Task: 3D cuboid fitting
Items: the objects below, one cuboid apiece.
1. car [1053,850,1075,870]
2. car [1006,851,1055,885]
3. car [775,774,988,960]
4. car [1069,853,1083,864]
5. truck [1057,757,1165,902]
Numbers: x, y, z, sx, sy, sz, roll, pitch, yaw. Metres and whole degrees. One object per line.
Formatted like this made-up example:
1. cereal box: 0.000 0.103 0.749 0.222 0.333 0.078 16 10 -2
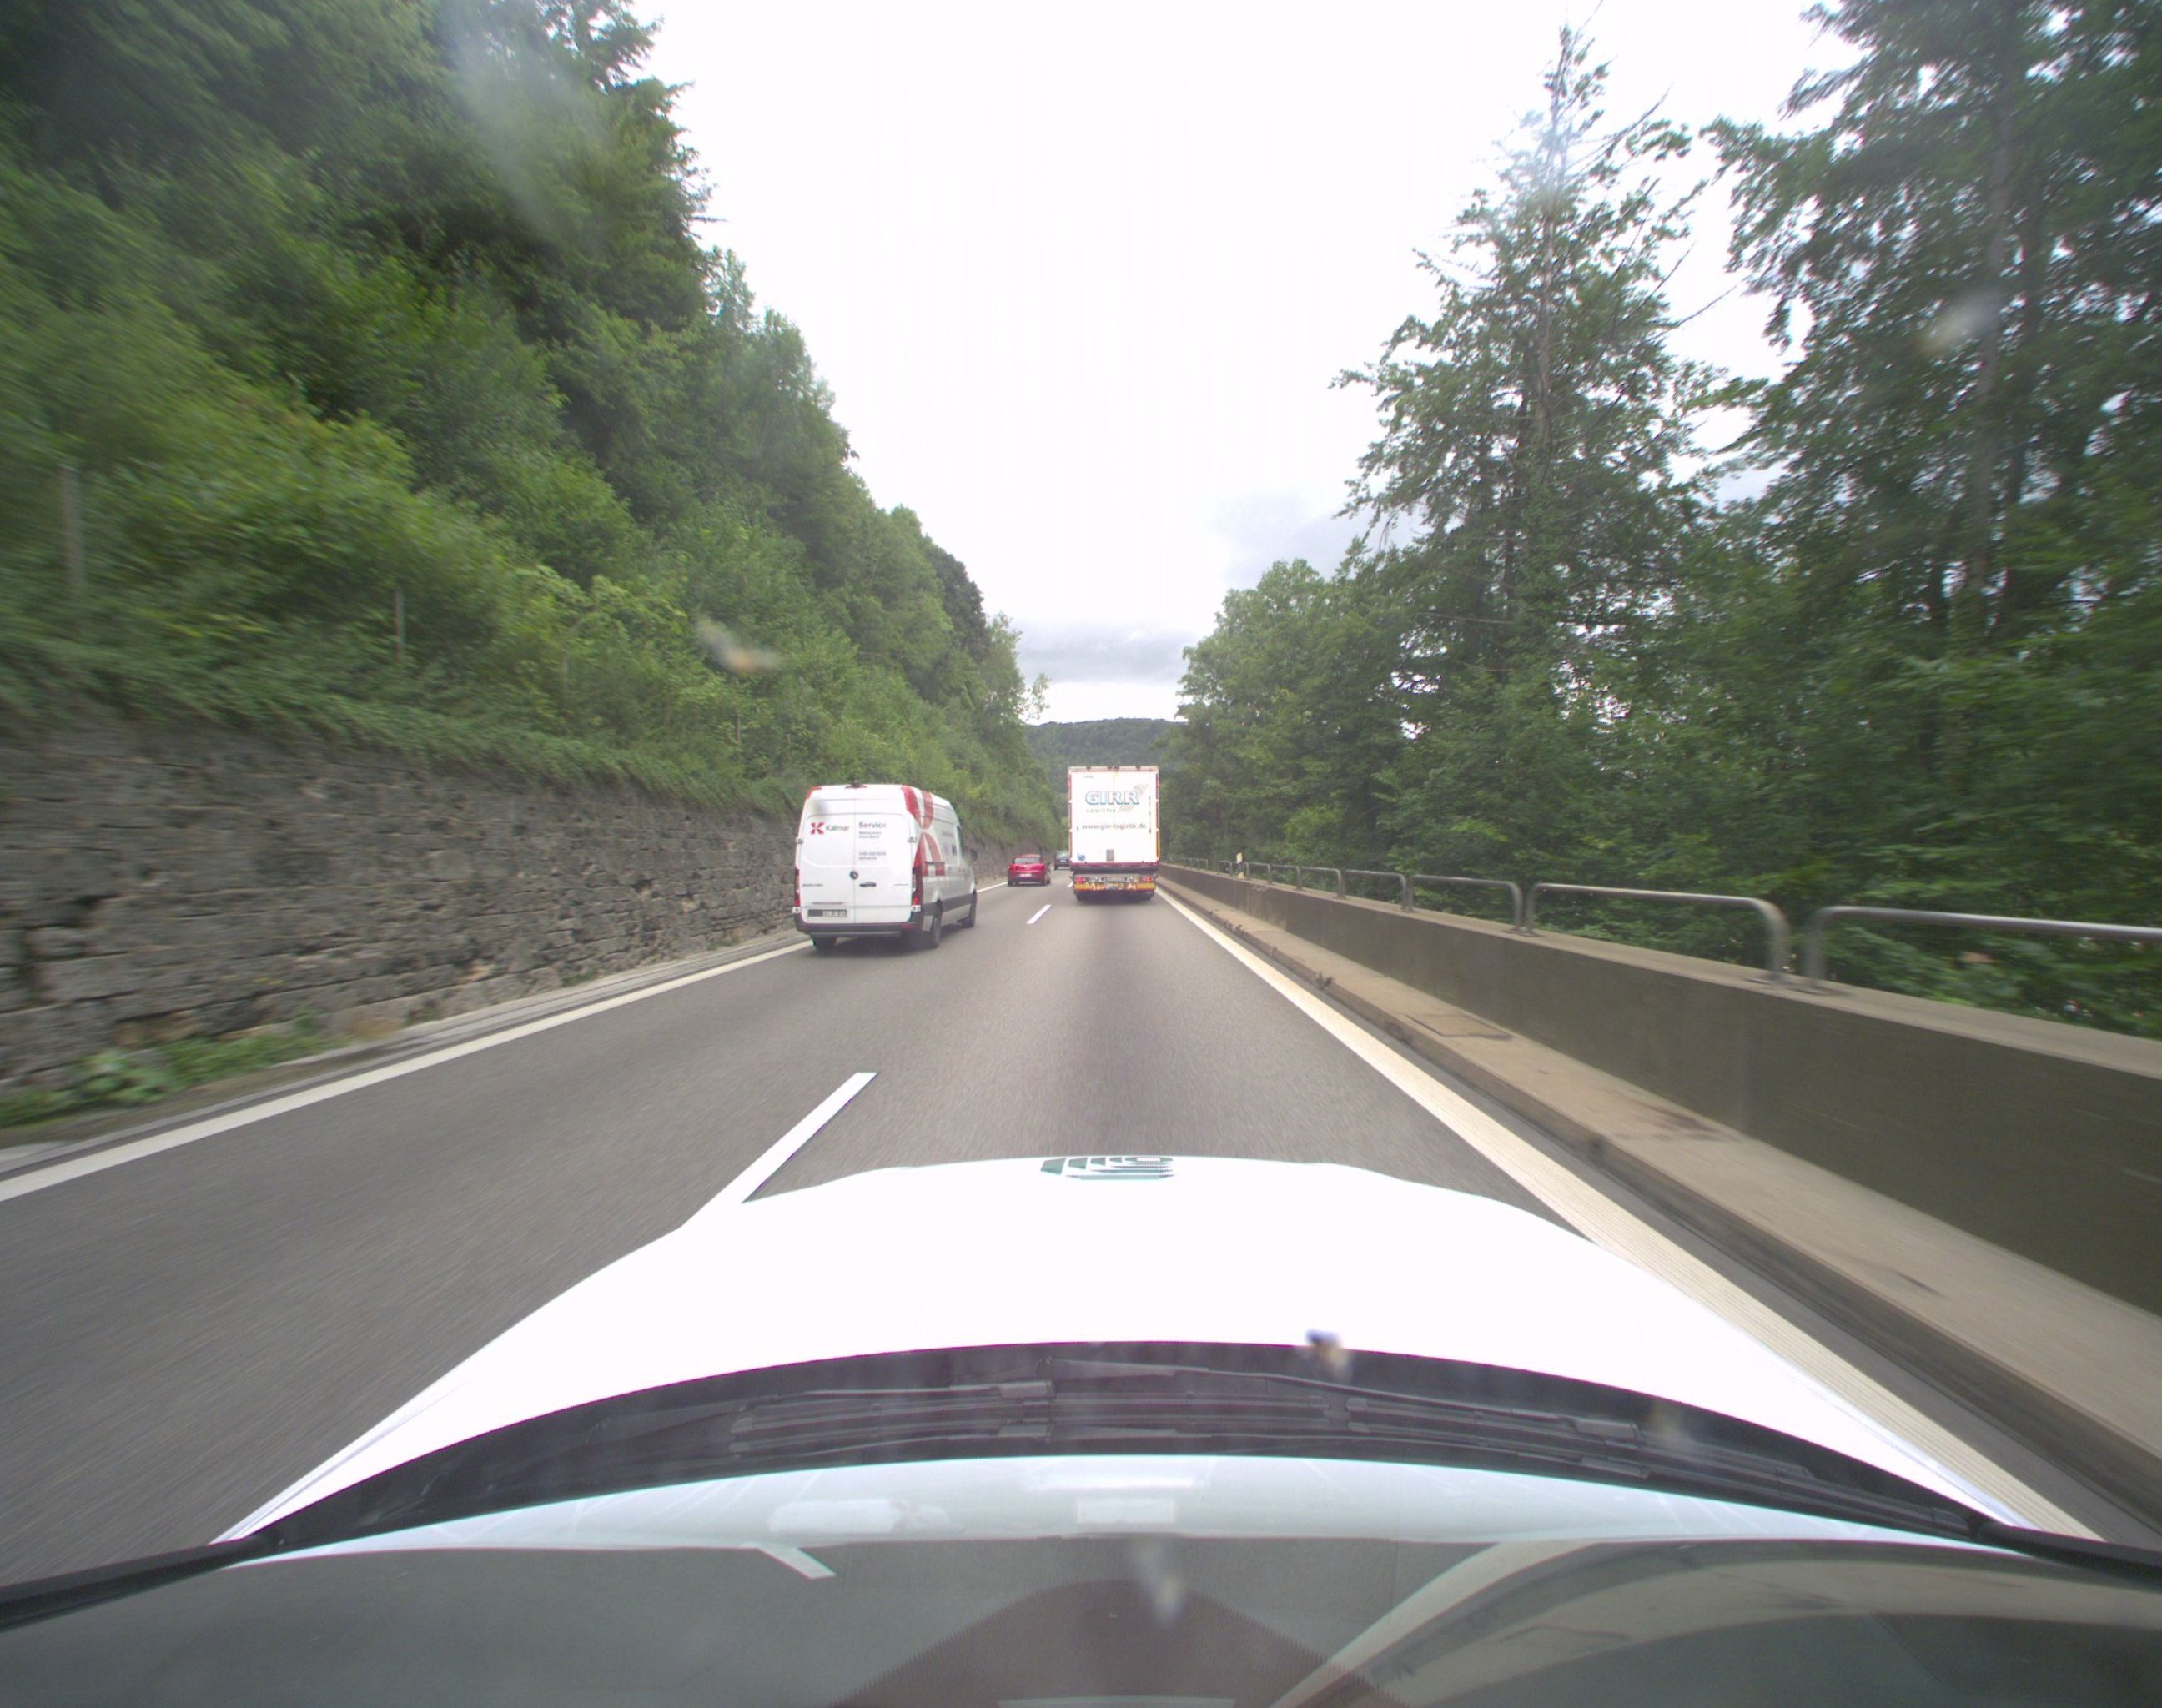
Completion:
1. car: -1.482 0.550 72.041 1.662 1.639 4.070 -1 0 2
2. car: -2.319 0.643 38.343 1.759 1.460 4.415 -1 0 3
3. car: -3.195 0.205 14.689 2.018 2.585 6.277 -1 0 2
4. car: -0.623 0.581 112.506 1.722 1.486 4.002 -1 0 2
5. truck: 1.045 -0.666 27.192 2.897 3.960 9.285 -1 0 3
